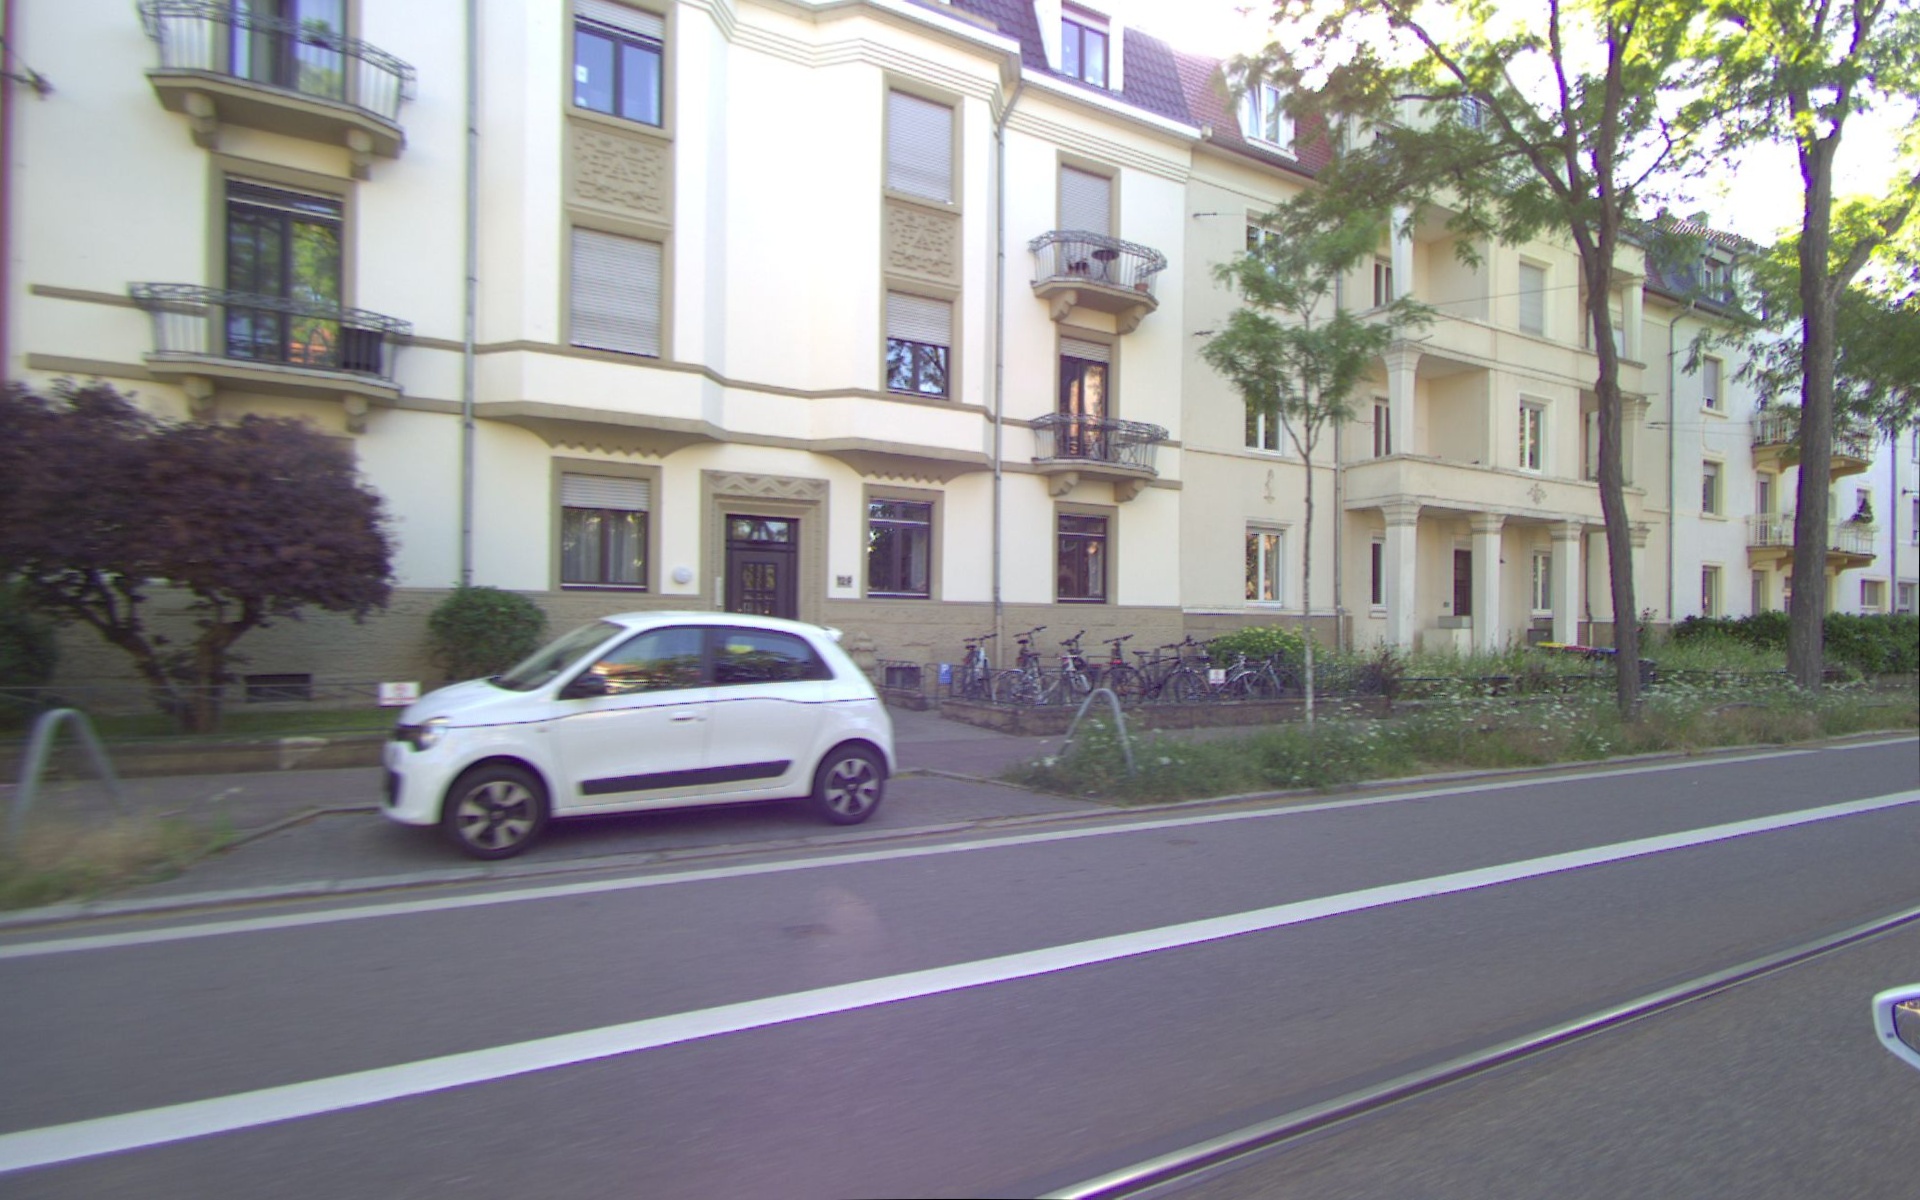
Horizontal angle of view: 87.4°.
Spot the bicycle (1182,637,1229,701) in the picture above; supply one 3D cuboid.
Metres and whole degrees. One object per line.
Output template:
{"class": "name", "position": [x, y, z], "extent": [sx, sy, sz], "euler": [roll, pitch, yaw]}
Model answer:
{"class": "bicycle", "position": [4.511, 1.244, 18.560], "extent": [0.547, 1.010, 1.863], "euler": [1, 1, 5]}

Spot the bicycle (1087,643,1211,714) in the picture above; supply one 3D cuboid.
{"class": "bicycle", "position": [2.916, 1.191, 15.486], "extent": [1.825, 1.010, 0.558], "euler": [1, -1, 17]}

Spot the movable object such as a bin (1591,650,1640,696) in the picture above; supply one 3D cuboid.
{"class": "movable object such as a bin", "position": [14.259, 1.580, 21.852], "extent": [0.731, 0.934, 0.625], "euler": [2, 0, -30]}

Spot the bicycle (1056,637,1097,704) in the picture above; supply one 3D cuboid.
{"class": "bicycle", "position": [2.057, 1.194, 17.560], "extent": [0.547, 1.010, 1.863], "euler": [1, 1, 11]}

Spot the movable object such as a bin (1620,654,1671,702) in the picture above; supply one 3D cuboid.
{"class": "movable object such as a bin", "position": [14.429, 1.631, 21.144], "extent": [0.731, 0.934, 0.625], "euler": [2, 0, -30]}

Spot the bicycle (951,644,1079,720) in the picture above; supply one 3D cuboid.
{"class": "bicycle", "position": [0.793, 1.171, 14.741], "extent": [1.830, 1.010, 0.557], "euler": [0, -1, 32]}

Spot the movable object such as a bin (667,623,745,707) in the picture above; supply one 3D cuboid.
{"class": "movable object such as a bin", "position": [-3.572, 0.894, 14.099], "extent": [0.885, 1.128, 0.734], "euler": [2, -1, -30]}

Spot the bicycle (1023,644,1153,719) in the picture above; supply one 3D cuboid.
{"class": "bicycle", "position": [1.895, 1.183, 14.920], "extent": [1.828, 1.010, 0.558], "euler": [0, -1, 27]}

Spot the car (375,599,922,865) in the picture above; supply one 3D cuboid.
{"class": "car", "position": [-2.274, 0.822, 7.574], "extent": [3.648, 1.555, 1.616], "euler": [2, 0, -32]}

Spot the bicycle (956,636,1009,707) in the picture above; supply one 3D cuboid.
{"class": "bicycle", "position": [0.398, 1.147, 16.654], "extent": [0.547, 1.010, 1.863], "euler": [1, 1, 11]}

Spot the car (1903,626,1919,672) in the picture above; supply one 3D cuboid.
{"class": "car", "position": [37.400, 1.892, 36.424], "extent": [1.928, 1.683, 4.283], "euler": [2, 0, -28]}

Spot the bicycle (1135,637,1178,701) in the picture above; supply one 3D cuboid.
{"class": "bicycle", "position": [3.562, 1.229, 18.350], "extent": [0.547, 1.010, 1.863], "euler": [1, 1, 5]}

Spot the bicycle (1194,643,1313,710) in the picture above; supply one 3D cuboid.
{"class": "bicycle", "position": [4.798, 1.234, 16.461], "extent": [1.825, 1.010, 0.558], "euler": [1, -1, 17]}

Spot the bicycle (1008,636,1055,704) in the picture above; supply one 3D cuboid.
{"class": "bicycle", "position": [1.250, 1.170, 17.279], "extent": [0.547, 1.010, 1.863], "euler": [1, 1, 11]}

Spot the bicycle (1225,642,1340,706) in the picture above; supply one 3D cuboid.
{"class": "bicycle", "position": [5.442, 1.236, 17.008], "extent": [1.825, 1.010, 0.558], "euler": [1, -1, 17]}

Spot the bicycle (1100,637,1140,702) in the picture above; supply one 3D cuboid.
{"class": "bicycle", "position": [2.861, 1.220, 18.038], "extent": [0.547, 1.010, 1.863], "euler": [1, 1, 5]}

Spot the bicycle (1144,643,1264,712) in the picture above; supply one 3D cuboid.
{"class": "bicycle", "position": [3.886, 1.218, 15.995], "extent": [1.825, 1.010, 0.558], "euler": [1, -1, 17]}
